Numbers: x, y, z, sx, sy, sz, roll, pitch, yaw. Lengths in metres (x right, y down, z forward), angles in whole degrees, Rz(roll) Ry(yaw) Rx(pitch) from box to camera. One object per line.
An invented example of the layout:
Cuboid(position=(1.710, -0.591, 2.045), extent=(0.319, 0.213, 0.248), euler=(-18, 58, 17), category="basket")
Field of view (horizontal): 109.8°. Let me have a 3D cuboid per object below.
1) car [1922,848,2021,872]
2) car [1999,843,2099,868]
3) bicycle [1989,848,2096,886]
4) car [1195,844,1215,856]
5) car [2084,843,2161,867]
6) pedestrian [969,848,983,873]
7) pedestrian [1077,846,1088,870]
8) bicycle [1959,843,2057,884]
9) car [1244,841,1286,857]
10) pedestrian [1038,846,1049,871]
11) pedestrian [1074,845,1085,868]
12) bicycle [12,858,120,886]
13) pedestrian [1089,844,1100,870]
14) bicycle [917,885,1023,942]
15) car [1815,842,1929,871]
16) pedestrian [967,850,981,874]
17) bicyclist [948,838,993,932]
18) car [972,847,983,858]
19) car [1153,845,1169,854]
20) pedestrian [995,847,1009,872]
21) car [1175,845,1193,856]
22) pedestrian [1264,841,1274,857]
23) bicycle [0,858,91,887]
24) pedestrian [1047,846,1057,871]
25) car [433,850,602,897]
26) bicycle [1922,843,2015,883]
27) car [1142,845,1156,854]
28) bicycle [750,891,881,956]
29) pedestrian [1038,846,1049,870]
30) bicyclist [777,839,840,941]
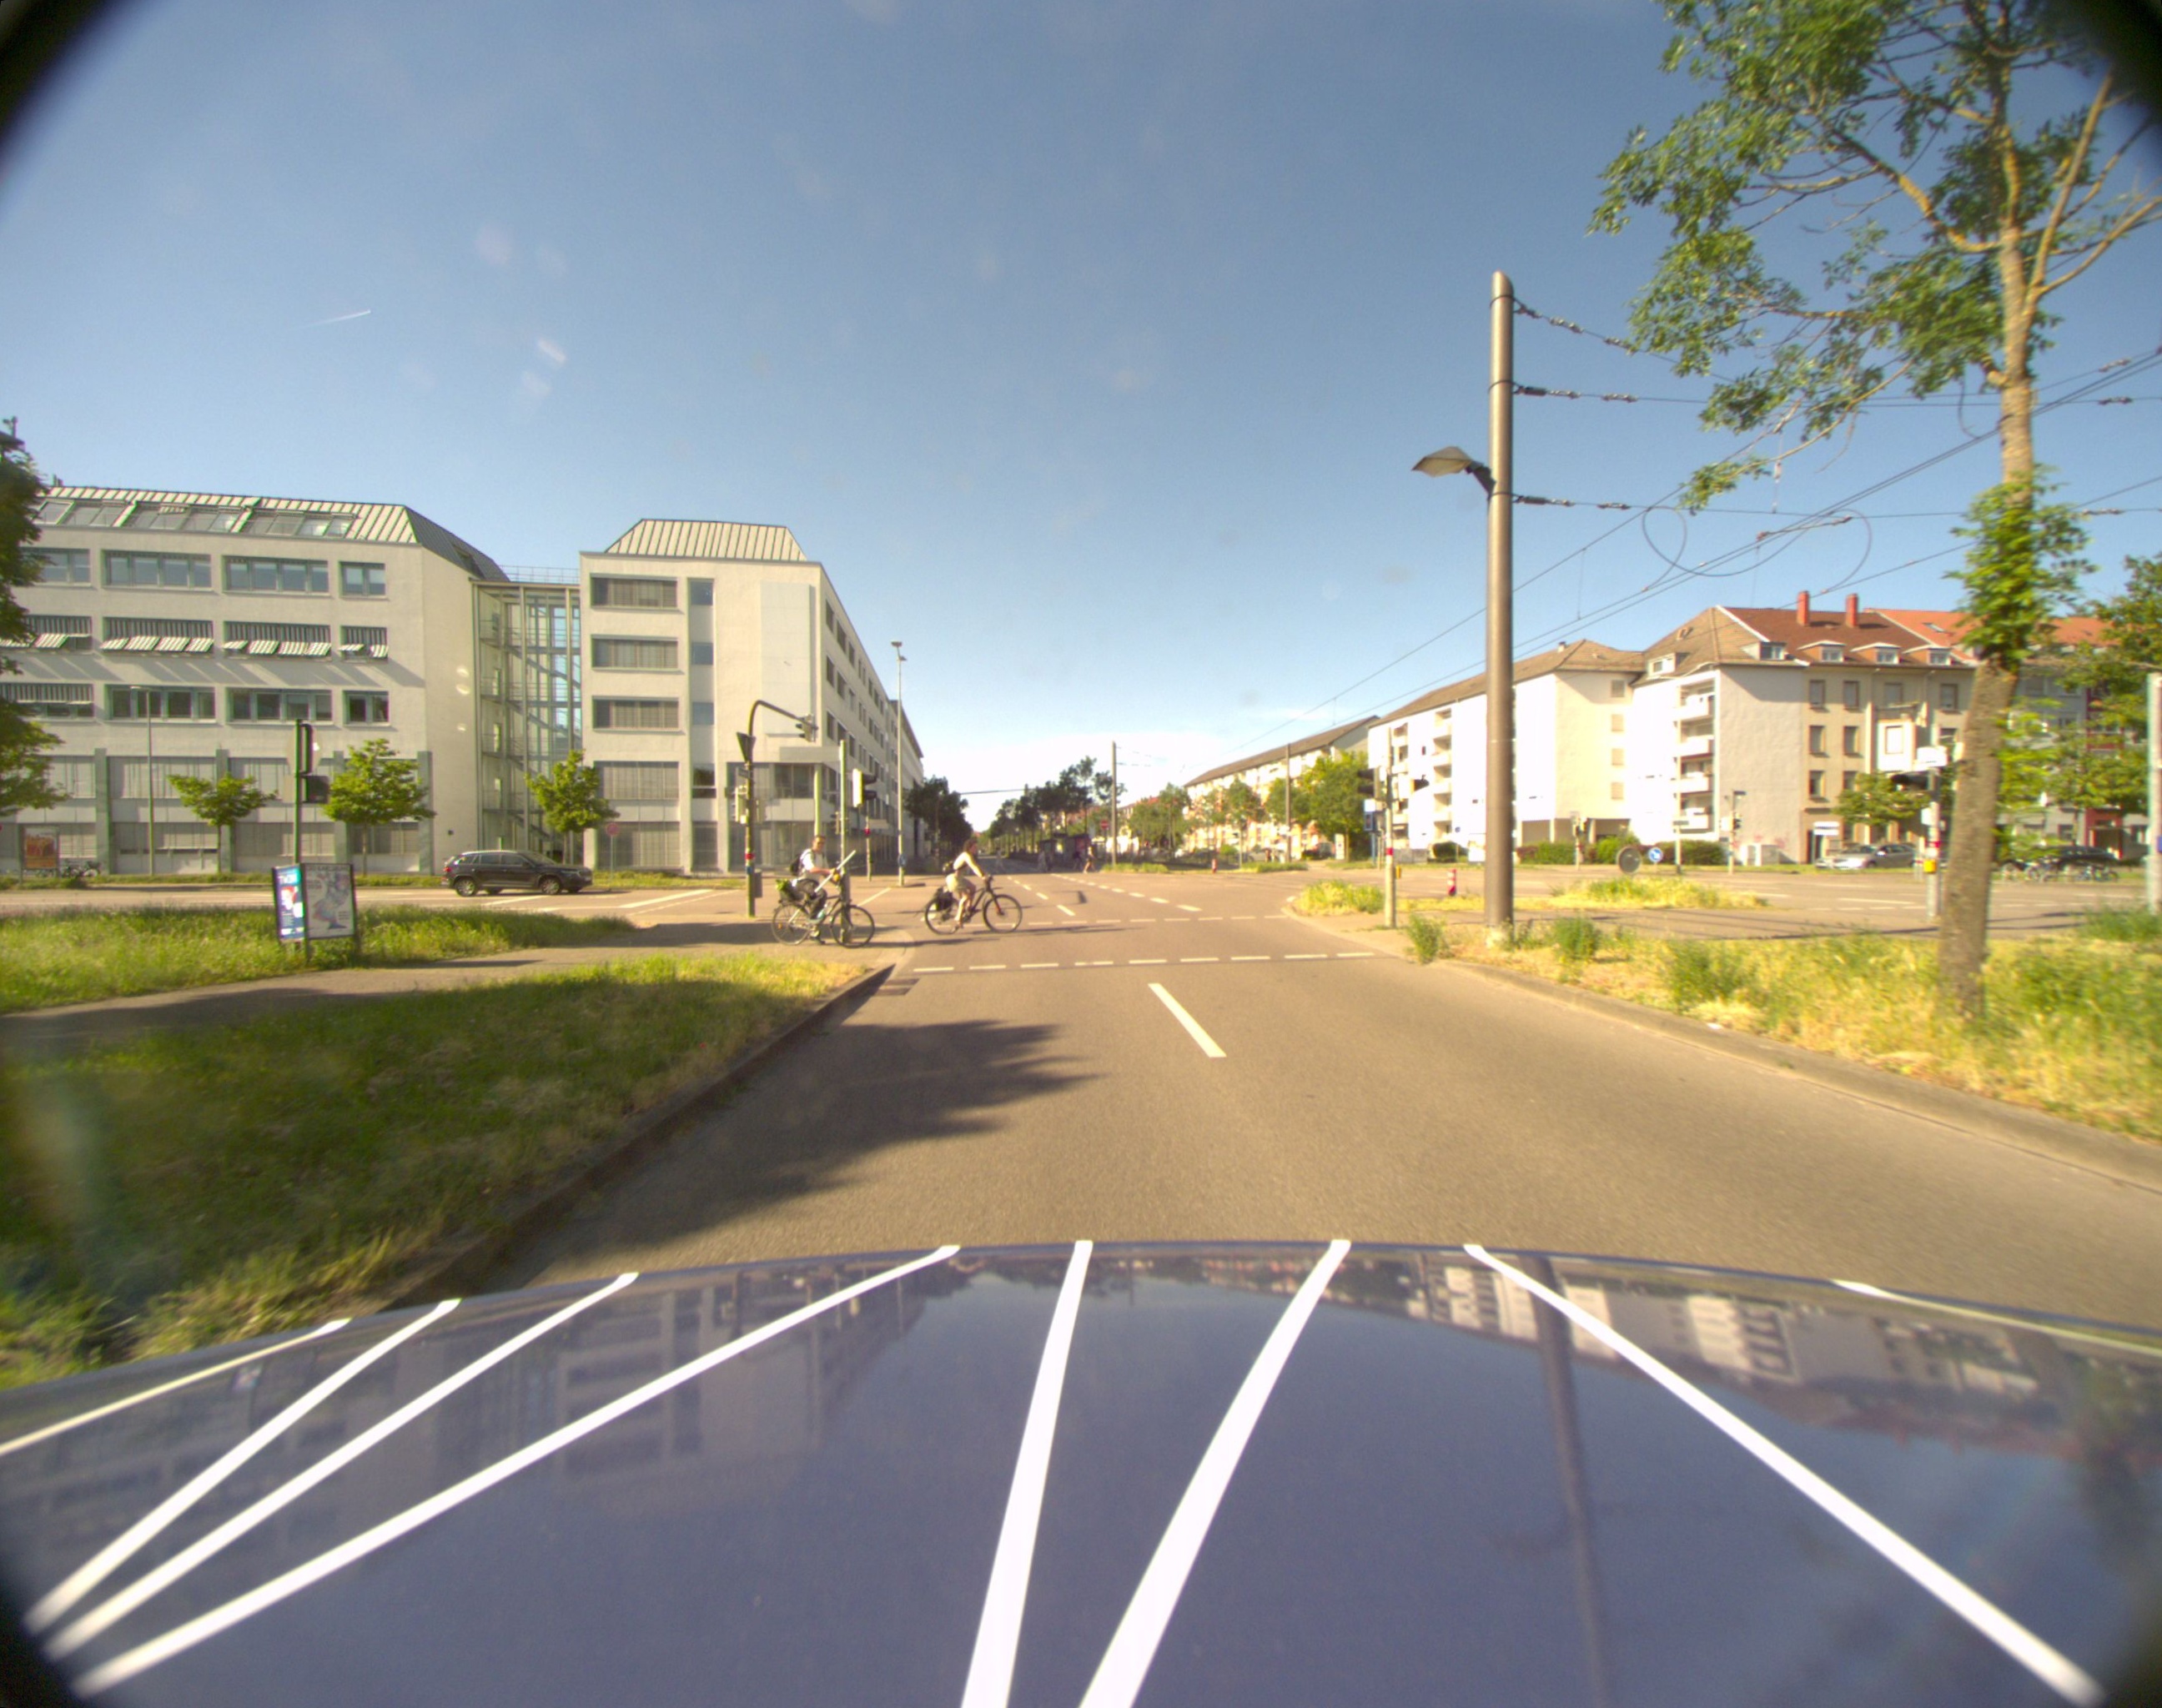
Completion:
Cuboid(position=(49.492, 0.314, 42.239), extent=(4.089, 1.303, 1.701), euler=(-1, 1, -9), category="car")
Cuboid(position=(54.545, 0.069, 42.830), extent=(4.089, 1.303, 1.701), euler=(-1, 1, -9), category="car")
Cuboid(position=(30.505, 0.393, 24.128), extent=(2.579, 1.152, 0.783), euler=(-1, 1, -4), category="bicycle")
Cuboid(position=(18.085, -0.610, 110.892), extent=(1.694, 1.700, 4.238), euler=(-1, 0, -8), category="car")
Cuboid(position=(60.949, 0.035, 44.021), extent=(4.089, 1.303, 1.701), euler=(-1, 1, -9), category="car")
Cuboid(position=(-7.229, 0.435, 52.321), extent=(0.731, 1.687, 0.736), euler=(0, 1, 14), category="pedestrian")
Cuboid(position=(0.102, 0.248, 53.924), extent=(0.732, 1.687, 0.735), euler=(-1, 1, -2), category="pedestrian")
Cuboid(position=(30.524, 0.312, 25.028), extent=(2.579, 1.302, 0.662), euler=(-1, 1, -4), category="bicycle")
Cuboid(position=(20.085, -0.494, 83.027), extent=(4.231, 1.700, 1.696), euler=(0, 1, 23), category="car")
Cuboid(position=(-2.561, 0.299, 52.229), extent=(0.732, 1.687, 0.735), euler=(-1, 1, -2), category="pedestrian")
Cuboid(position=(-0.102, 0.187, 54.846), extent=(0.732, 1.687, 0.735), euler=(-1, 1, -2), category="pedestrian")
Cuboid(position=(-50.393, 0.886, 37.771), extent=(3.535, 1.340, 0.989), euler=(-1, 1, -8), category="bicycle")
Cuboid(position=(0.895, 0.215, 49.953), extent=(0.723, 1.687, 0.608), euler=(-1, 1, -2), category="pedestrian")
Cuboid(position=(-2.018, 1.086, 14.025), extent=(1.827, 0.958, 0.816), euler=(-1, 1, -2), category="bicycle")
Cuboid(position=(43.004, 0.122, 41.382), extent=(4.189, 1.457, 2.332), euler=(-1, 1, -9), category="car")
Cuboid(position=(-7.608, 0.535, 53.868), extent=(0.731, 1.687, 0.736), euler=(0, 1, 14), category="pedestrian")
Cuboid(position=(-2.028, 0.557, 14.019), extent=(0.715, 1.682, 0.816), euler=(-1, 1, -2), category="bicyclist")
Cuboid(position=(-16.258, -0.281, 119.433), extent=(1.694, 1.700, 4.238), euler=(-1, 0, -8), category="car")
Cuboid(position=(14.309, -0.817, 136.443), extent=(1.833, 1.700, 4.238), euler=(-1, 0, -8), category="car")
Cuboid(position=(-5.548, 0.381, 53.364), extent=(0.882, 1.687, 0.735), euler=(-1, 1, -2), category="pedestrian")
Cuboid(position=(16.373, -0.591, 121.280), extent=(1.694, 1.700, 4.238), euler=(-1, 0, -8), category="car")
Cuboid(position=(20.281, -0.502, 81.893), extent=(0.786, 1.701, 0.703), euler=(-1, 1, -8), category="pedestrian")
Cuboid(position=(-50.492, 0.903, 36.692), extent=(3.535, 1.340, 0.989), euler=(-1, 1, -8), category="bicycle")
Cuboid(position=(-1.944, 0.285, 51.476), extent=(0.641, 1.687, 0.608), euler=(-1, 1, -6), category="pedestrian")
Cuboid(position=(-20.906, 0.679, 28.382), extent=(4.631, 1.613, 1.998), euler=(-1, 1, -7), category="car")
Cuboid(position=(30.467, 0.299, 26.083), extent=(2.579, 1.302, 0.662), euler=(-1, 1, -4), category="bicycle")
Cuboid(position=(13.082, -0.937, 146.401), extent=(1.694, 1.700, 4.238), euler=(-1, 0, -8), category="car")
Cuboid(position=(-4.287, 1.106, 12.372), extent=(1.827, 0.958, 0.855), euler=(0, 1, -1), category="bicycle")
Cuboid(position=(-2.600, 0.259, 53.032), extent=(0.732, 1.687, 0.735), euler=(-1, 1, -2), category="pedestrian")
Cuboid(position=(-4.409, 0.568, 12.358), extent=(0.715, 1.591, 0.850), euler=(-1, 1, -1), category="bicyclist")
